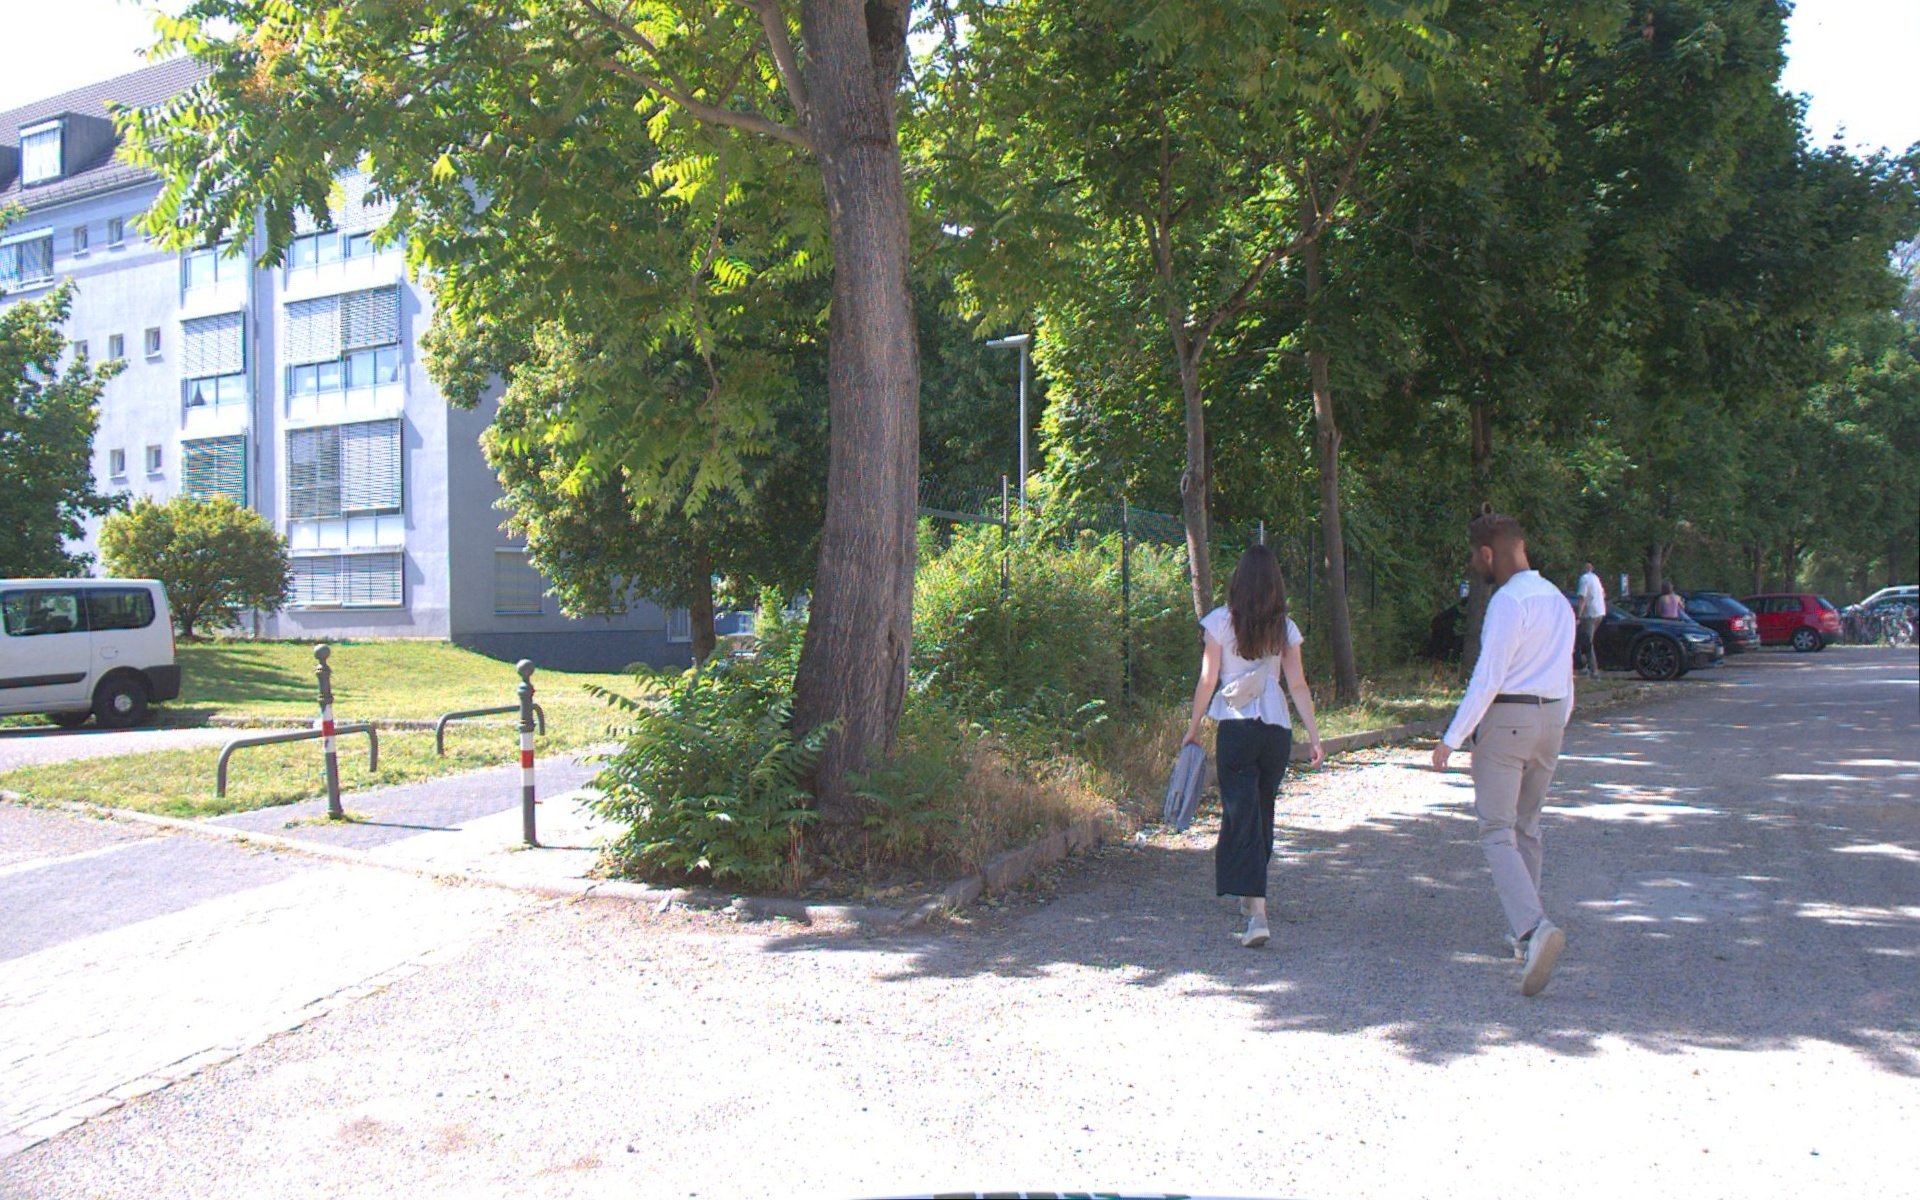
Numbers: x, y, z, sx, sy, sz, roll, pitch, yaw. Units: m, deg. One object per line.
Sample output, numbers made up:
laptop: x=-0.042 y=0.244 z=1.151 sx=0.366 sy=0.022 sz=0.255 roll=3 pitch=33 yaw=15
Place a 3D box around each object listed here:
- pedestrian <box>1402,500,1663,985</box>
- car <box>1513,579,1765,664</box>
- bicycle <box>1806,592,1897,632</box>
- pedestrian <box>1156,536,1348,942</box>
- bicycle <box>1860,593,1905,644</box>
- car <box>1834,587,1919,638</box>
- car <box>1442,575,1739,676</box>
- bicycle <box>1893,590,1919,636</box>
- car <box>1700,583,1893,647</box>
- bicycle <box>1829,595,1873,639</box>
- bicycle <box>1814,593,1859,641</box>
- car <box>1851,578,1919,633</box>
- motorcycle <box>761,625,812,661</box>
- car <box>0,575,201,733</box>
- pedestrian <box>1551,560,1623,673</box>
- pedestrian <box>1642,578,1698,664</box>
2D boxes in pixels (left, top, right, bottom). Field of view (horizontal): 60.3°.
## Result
pedestrian: x=2.198 y=0.516 z=6.447 sx=0.739 sy=1.758 sz=0.854 roll=-1 pitch=1 yaw=3
car: x=13.788 y=0.417 z=33.624 sx=4.567 sy=1.612 sz=1.997 roll=0 pitch=1 yaw=29
bicycle: x=29.711 y=0.399 z=55.164 sx=2.626 sy=1.307 sz=0.817 roll=-1 pitch=0 yaw=32
pedestrian: x=1.247 y=0.569 z=7.204 sx=0.720 sy=1.668 sz=0.781 roll=-1 pitch=1 yaw=3
bicycle: x=24.999 y=0.487 z=44.797 sx=0.702 sy=1.307 sz=2.673 roll=-1 pitch=0 yaw=36
car: x=34.534 y=0.454 z=60.844 sx=3.926 sy=1.803 sz=1.758 roll=0 pitch=0 yaw=40
car: x=10.843 y=0.409 z=28.504 sx=4.567 sy=1.612 sz=1.997 roll=0 pitch=1 yaw=29
bicycle: x=27.960 y=0.357 z=48.544 sx=0.702 sy=1.307 sz=2.626 roll=-1 pitch=0 yaw=36
car: x=21.562 y=0.378 z=42.668 sx=4.213 sy=1.551 sz=1.885 roll=-1 pitch=0 yaw=36
bicycle: x=27.168 y=0.503 z=50.430 sx=0.803 sy=1.307 sz=2.673 roll=-1 pitch=0 yaw=36
bicycle: x=24.554 y=0.458 z=46.323 sx=0.702 sy=1.307 sz=2.780 roll=-1 pitch=0 yaw=36
car: x=36.398 y=0.200 z=63.178 sx=3.926 sy=2.049 sz=1.758 roll=0 pitch=0 yaw=40
motorcycle: x=-6.478 y=1.596 z=61.815 sx=0.618 sy=1.268 sz=2.053 roll=-1 pitch=0 yaw=38
car: x=-12.655 y=0.679 z=21.187 sx=1.962 sy=1.967 sz=5.017 roll=-1 pitch=0 yaw=38
pedestrian: x=10.240 y=0.262 z=26.994 sx=0.994 sy=1.812 sz=0.819 roll=-1 pitch=0 yaw=28
pedestrian: x=13.734 y=0.402 z=31.984 sx=0.907 sy=1.623 sz=0.785 roll=0 pitch=1 yaw=29
